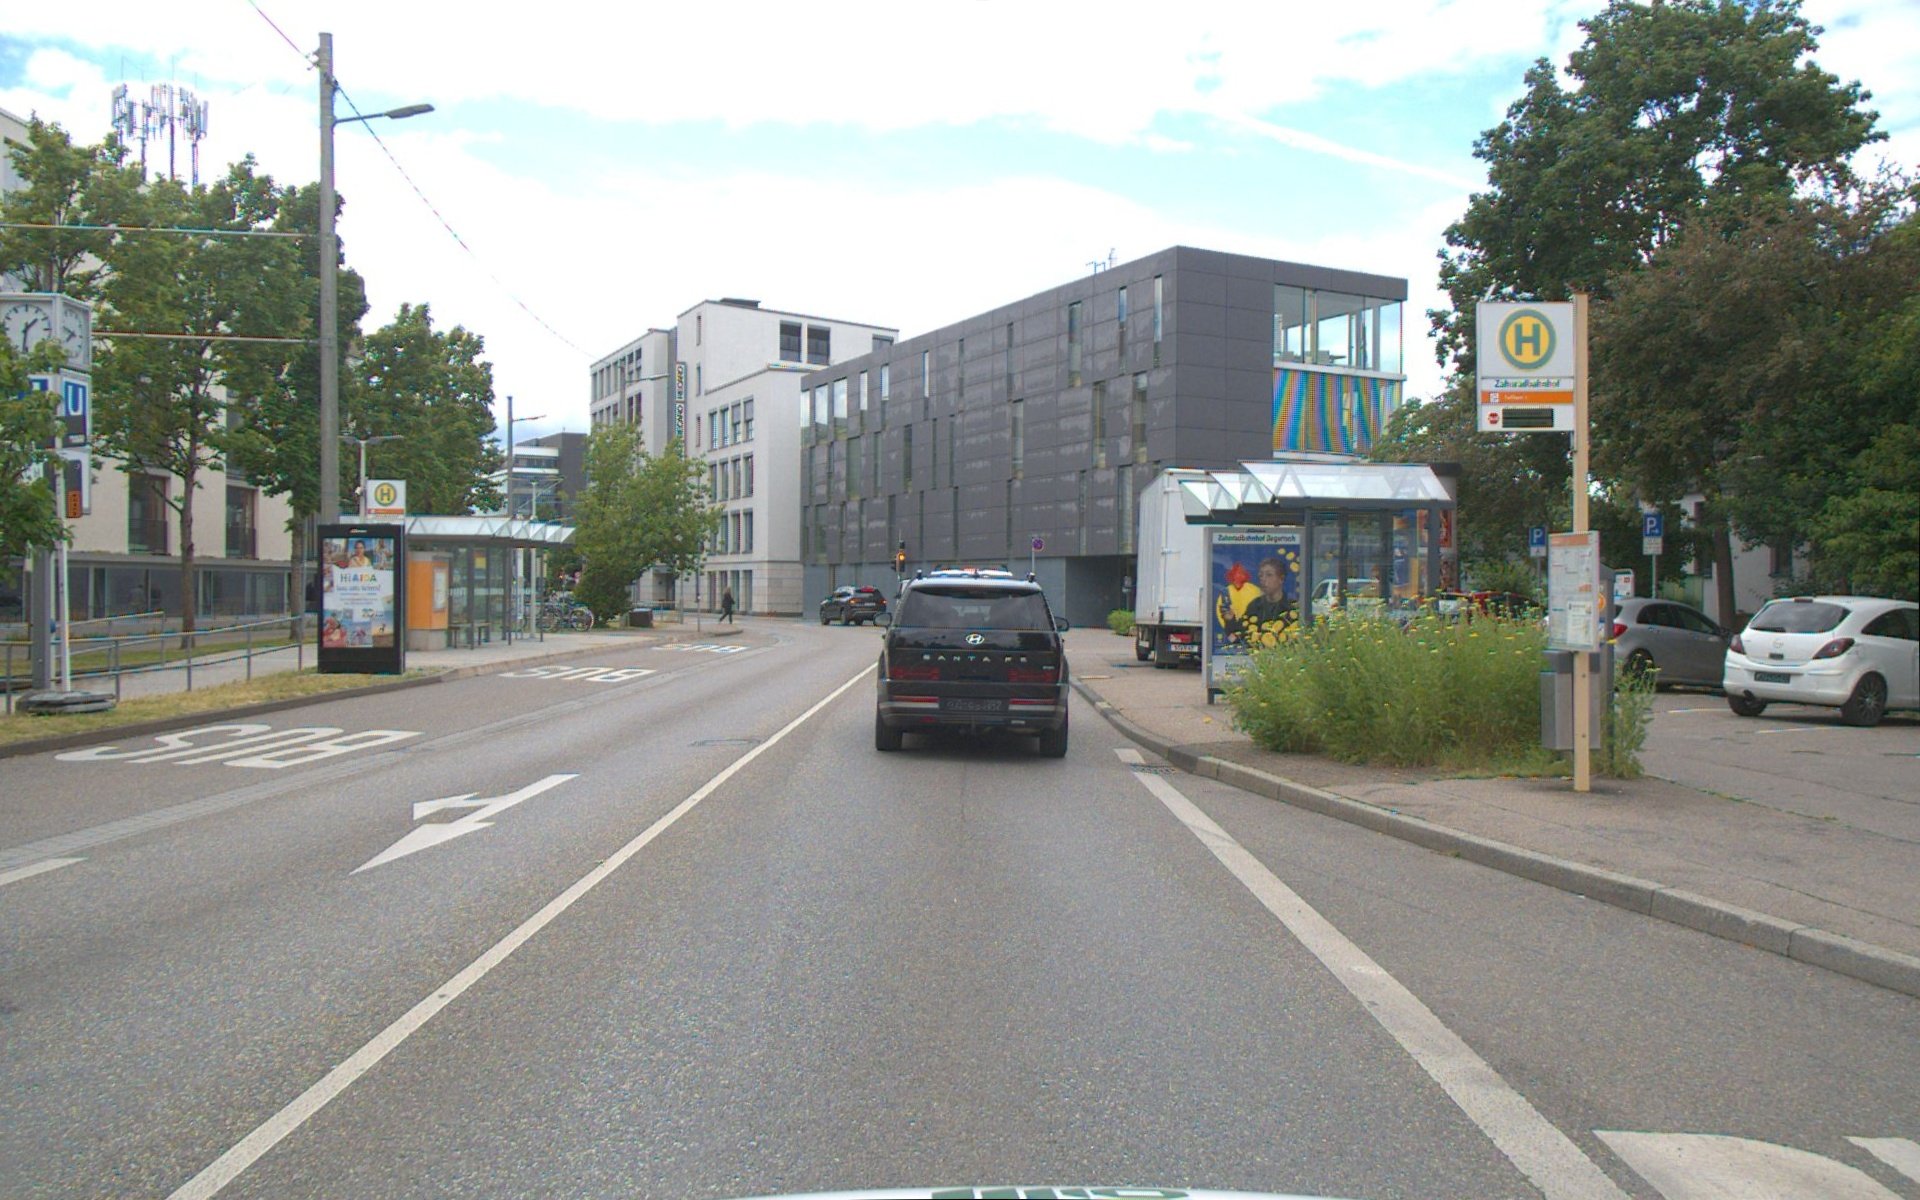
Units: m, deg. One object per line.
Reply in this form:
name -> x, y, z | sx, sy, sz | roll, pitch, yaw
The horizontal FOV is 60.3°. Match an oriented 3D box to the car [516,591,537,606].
car -> -43.214, -0.153, 164.806 | 1.869, 1.512, 3.981 | 0, 0, -17

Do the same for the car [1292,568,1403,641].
car -> 10.622, 0.141, 45.649 | 1.953, 1.870, 4.517 | -1, 0, 0

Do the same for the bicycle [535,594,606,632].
bicycle -> -12.185, 0.404, 51.763 | 2.055, 1.125, 0.631 | 1, 0, 1

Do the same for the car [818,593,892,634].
car -> -4.592, 0.581, 71.634 | 1.823, 1.706, 4.342 | -1, 0, -24

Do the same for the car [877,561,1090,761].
car -> 0.128, 0.539, 17.042 | 1.877, 1.755, 4.168 | 2, 0, -3

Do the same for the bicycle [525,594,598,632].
bicycle -> -12.299, 0.393, 51.041 | 2.055, 1.125, 0.631 | 1, 0, 1

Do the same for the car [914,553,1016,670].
car -> 0.064, 0.179, 31.583 | 1.817, 2.069, 4.436 | 0, 1, -1

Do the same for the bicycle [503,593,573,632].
bicycle -> -12.449, 0.366, 48.814 | 1.889, 1.125, 0.587 | 1, 0, 1

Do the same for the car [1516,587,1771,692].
car -> 10.677, 0.627, 25.803 | 3.752, 1.499, 1.780 | 2, -1, -31

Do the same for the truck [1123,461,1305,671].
truck -> 4.728, -0.606, 32.148 | 2.520, 3.587, 7.812 | 0, 0, 1

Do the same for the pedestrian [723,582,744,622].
pedestrian -> -10.453, 0.078, 76.189 | 0.921, 1.832, 0.589 | 0, 0, -12

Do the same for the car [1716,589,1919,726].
car -> 10.967, 0.627, 19.819 | 3.596, 1.460, 1.577 | -2, -1, -28

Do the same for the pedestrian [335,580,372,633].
pedestrian -> -20.195, 0.221, 55.065 | 0.900, 1.749, 0.906 | 0, 0, -1
